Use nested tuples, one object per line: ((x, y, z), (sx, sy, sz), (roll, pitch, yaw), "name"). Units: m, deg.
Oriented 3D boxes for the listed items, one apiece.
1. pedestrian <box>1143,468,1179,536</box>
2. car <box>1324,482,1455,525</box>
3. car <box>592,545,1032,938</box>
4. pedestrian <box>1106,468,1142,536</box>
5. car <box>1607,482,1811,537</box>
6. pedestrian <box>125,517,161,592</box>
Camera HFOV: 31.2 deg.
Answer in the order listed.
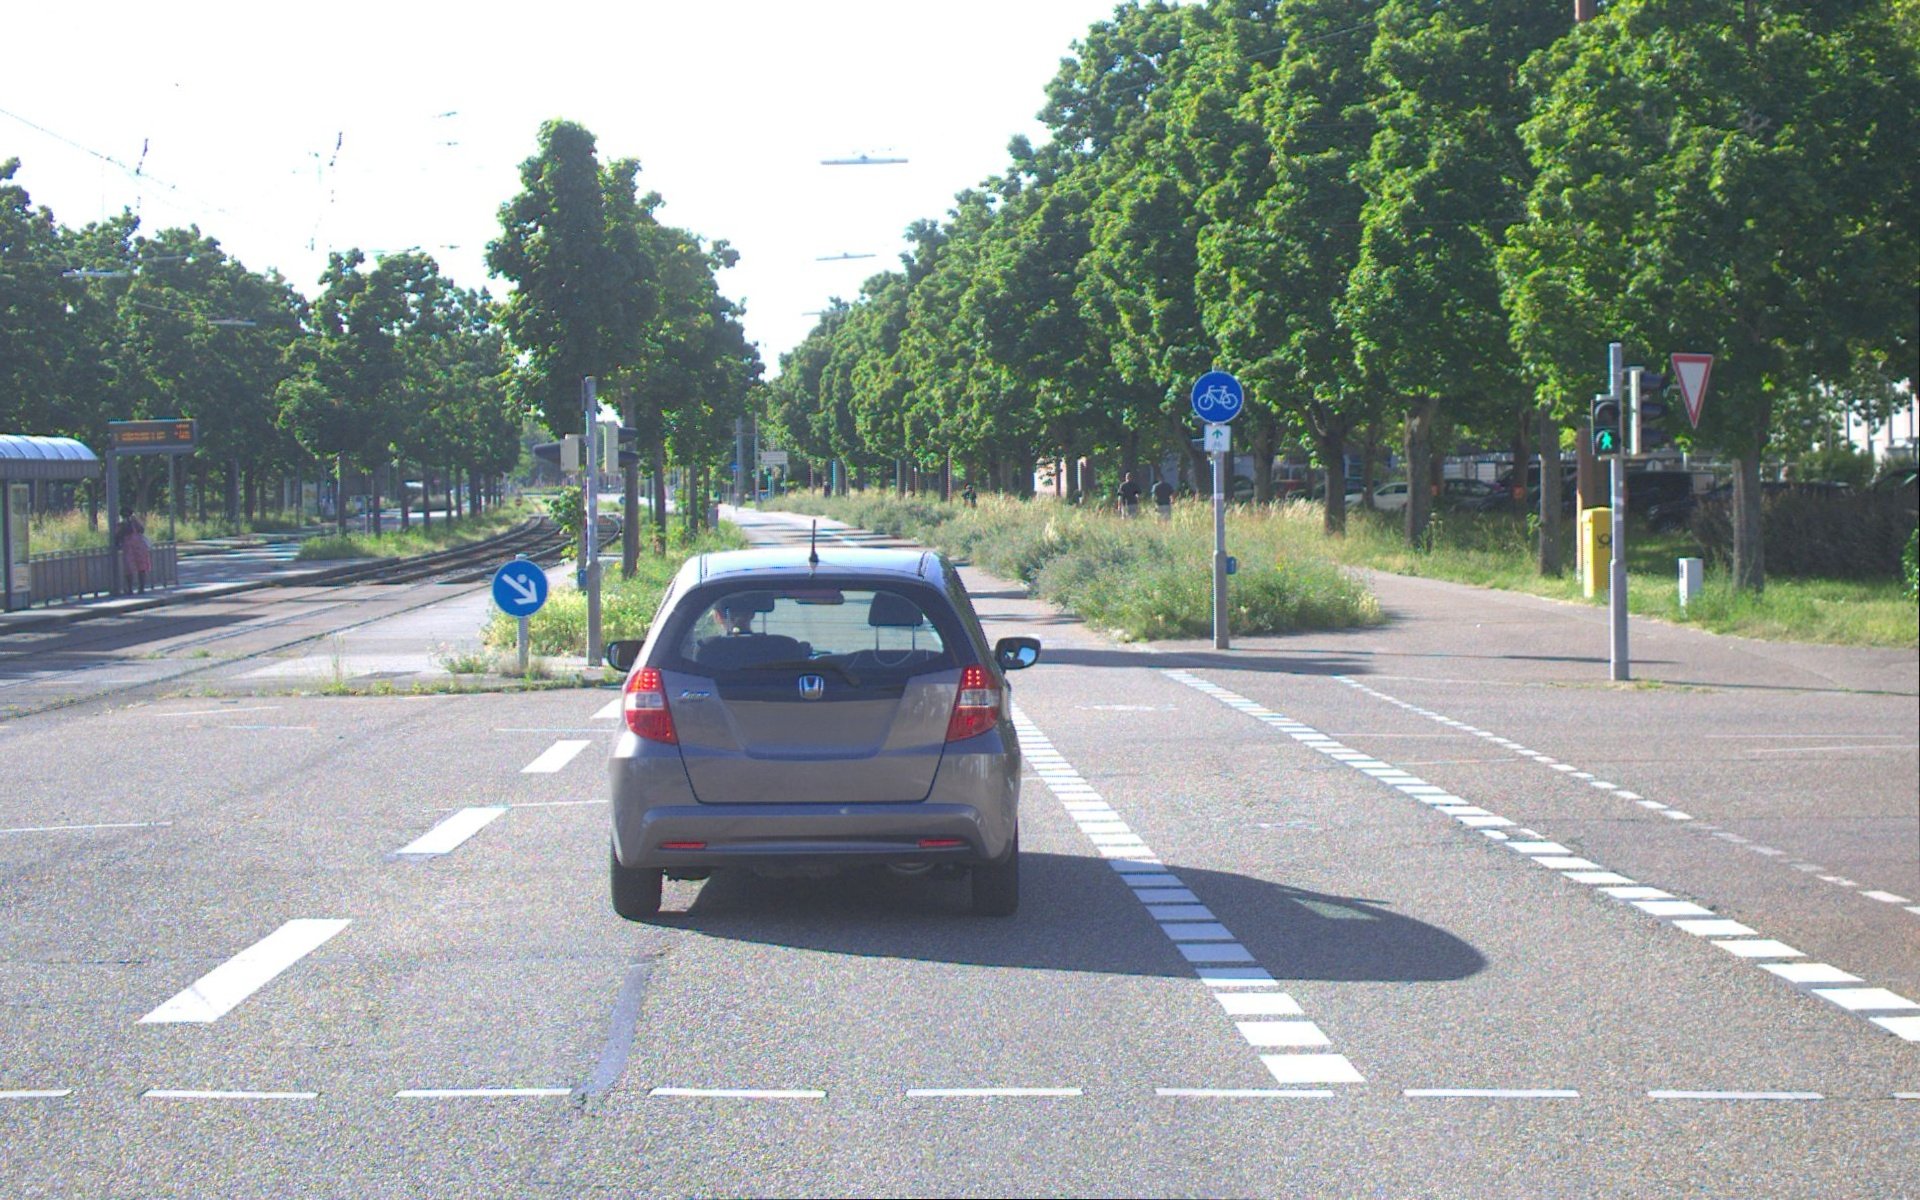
((5.665, -2.758, 96.805), (0.882, 1.877, 0.875), (-1, 2, -4), "pedestrian")
((16.526, -3.719, 132.438), (4.630, 1.550, 2.001), (-1, 2, -7), "car")
((-0.602, 0.531, 15.184), (1.701, 1.518, 3.710), (0, 1, -1), "car")
((4.625, -2.759, 96.777), (0.882, 1.877, 0.875), (-1, 2, -4), "pedestrian")
((19.301, -2.337, 88.645), (4.679, 1.322, 2.088), (0, 2, 34), "car")
((-16.136, -0.898, 67.879), (0.544, 1.442, 0.559), (-2, 1, -1), "pedestrian")
